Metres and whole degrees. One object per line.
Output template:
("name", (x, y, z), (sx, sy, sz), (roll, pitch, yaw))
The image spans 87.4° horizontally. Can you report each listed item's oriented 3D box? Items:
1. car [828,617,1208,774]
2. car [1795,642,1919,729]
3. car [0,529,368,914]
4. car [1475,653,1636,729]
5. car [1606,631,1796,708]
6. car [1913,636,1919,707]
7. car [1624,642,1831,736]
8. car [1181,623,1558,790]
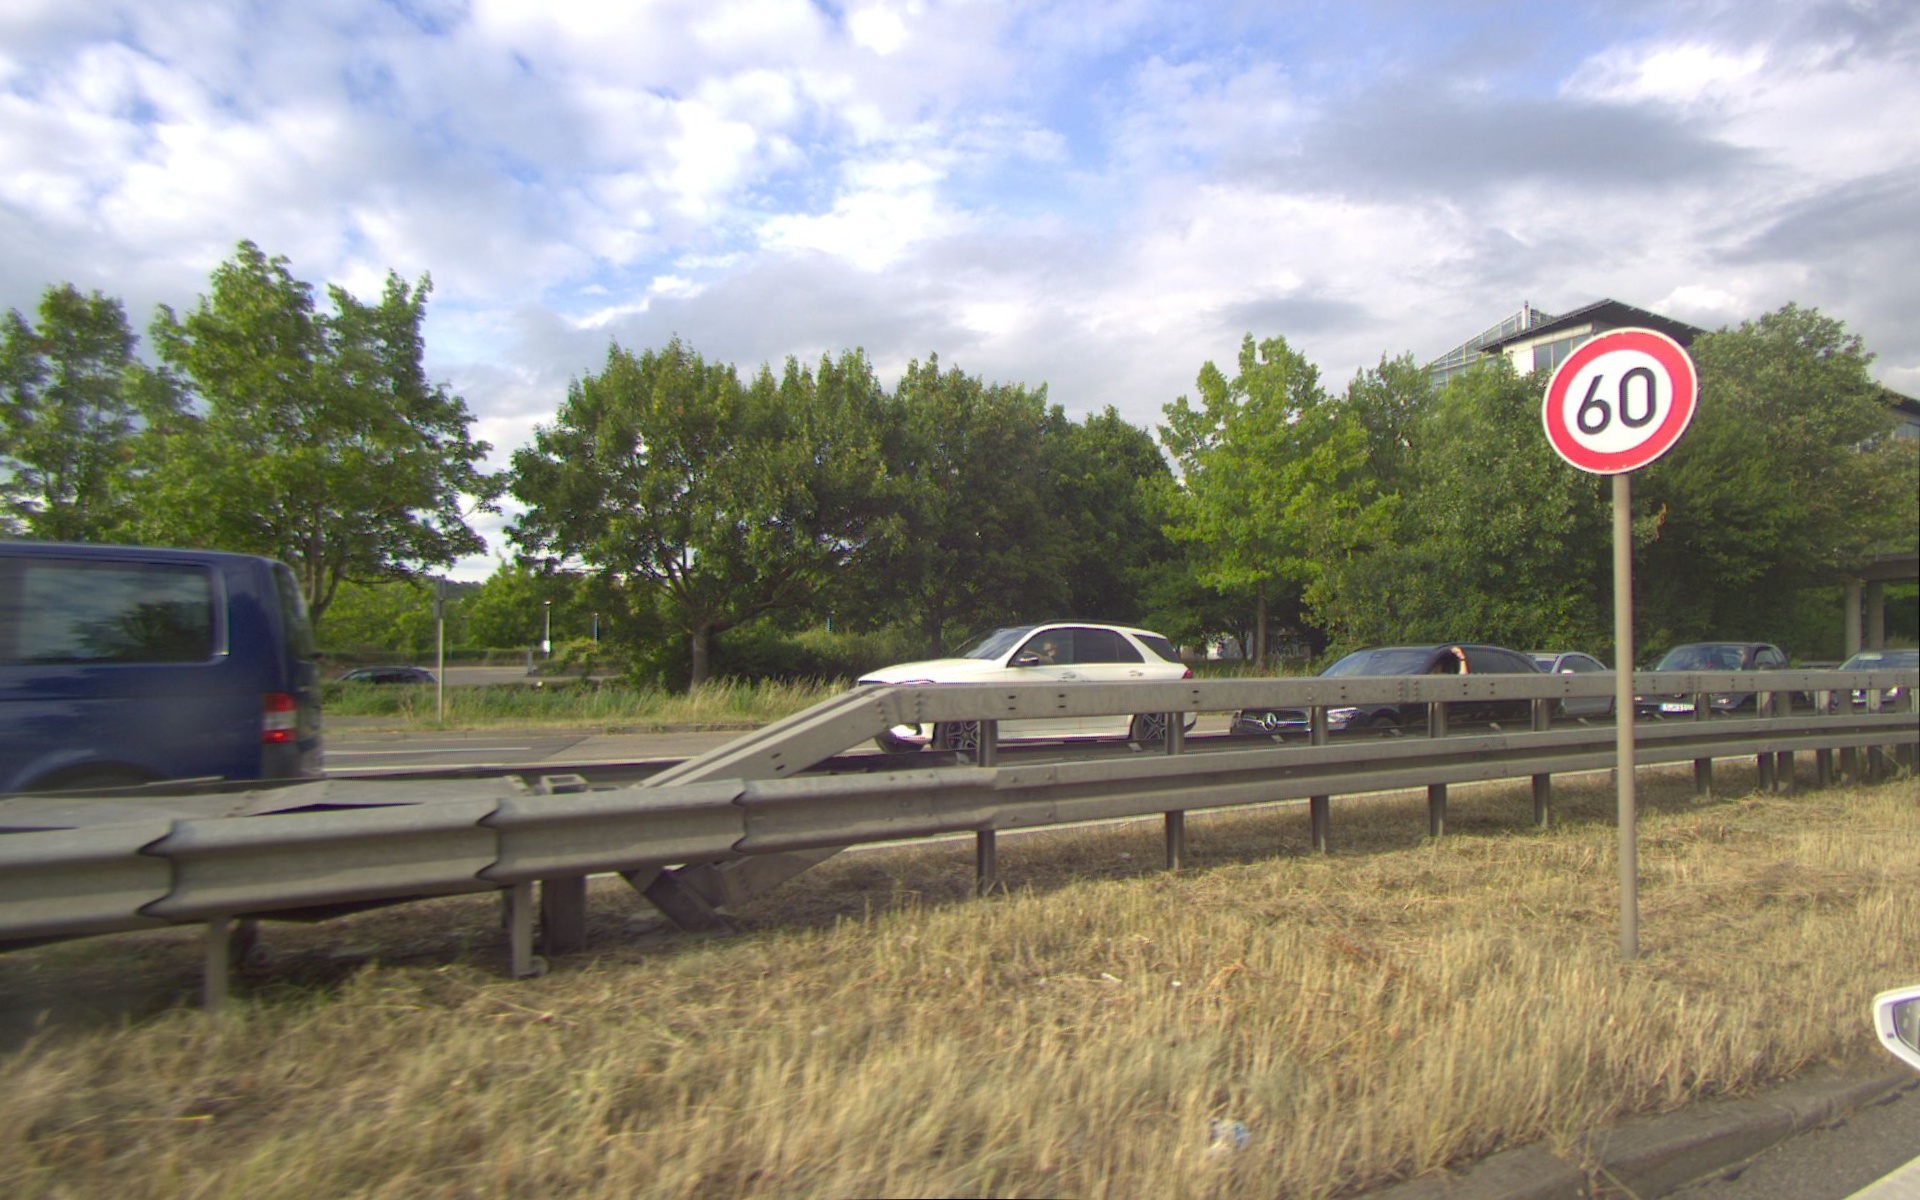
("car", (0.828, 1.201, 13.484), (4.787, 1.772, 2.025), (2, -4, -30))
("car", (17.619, 1.541, 18.966), (3.691, 1.486, 1.710), (2, -3, -31))
("car", (-6.161, 0.657, 5.428), (4.989, 1.941, 1.891), (2, -5, -29))
("car", (11.792, 1.735, 19.854), (3.274, 1.371, 1.421), (2, -3, -33))
("car", (16.507, 1.505, 22.339), (4.345, 1.556, 1.826), (2, -2, -30))
("car", (24.099, 1.649, 23.209), (4.736, 1.605, 1.814), (2, -2, -31))
("car", (12.789, 1.431, 16.710), (3.423, 1.378, 1.549), (1, -4, -31))
("car", (4.806, 1.101, 11.593), (4.502, 1.610, 1.704), (2, -2, -31))
